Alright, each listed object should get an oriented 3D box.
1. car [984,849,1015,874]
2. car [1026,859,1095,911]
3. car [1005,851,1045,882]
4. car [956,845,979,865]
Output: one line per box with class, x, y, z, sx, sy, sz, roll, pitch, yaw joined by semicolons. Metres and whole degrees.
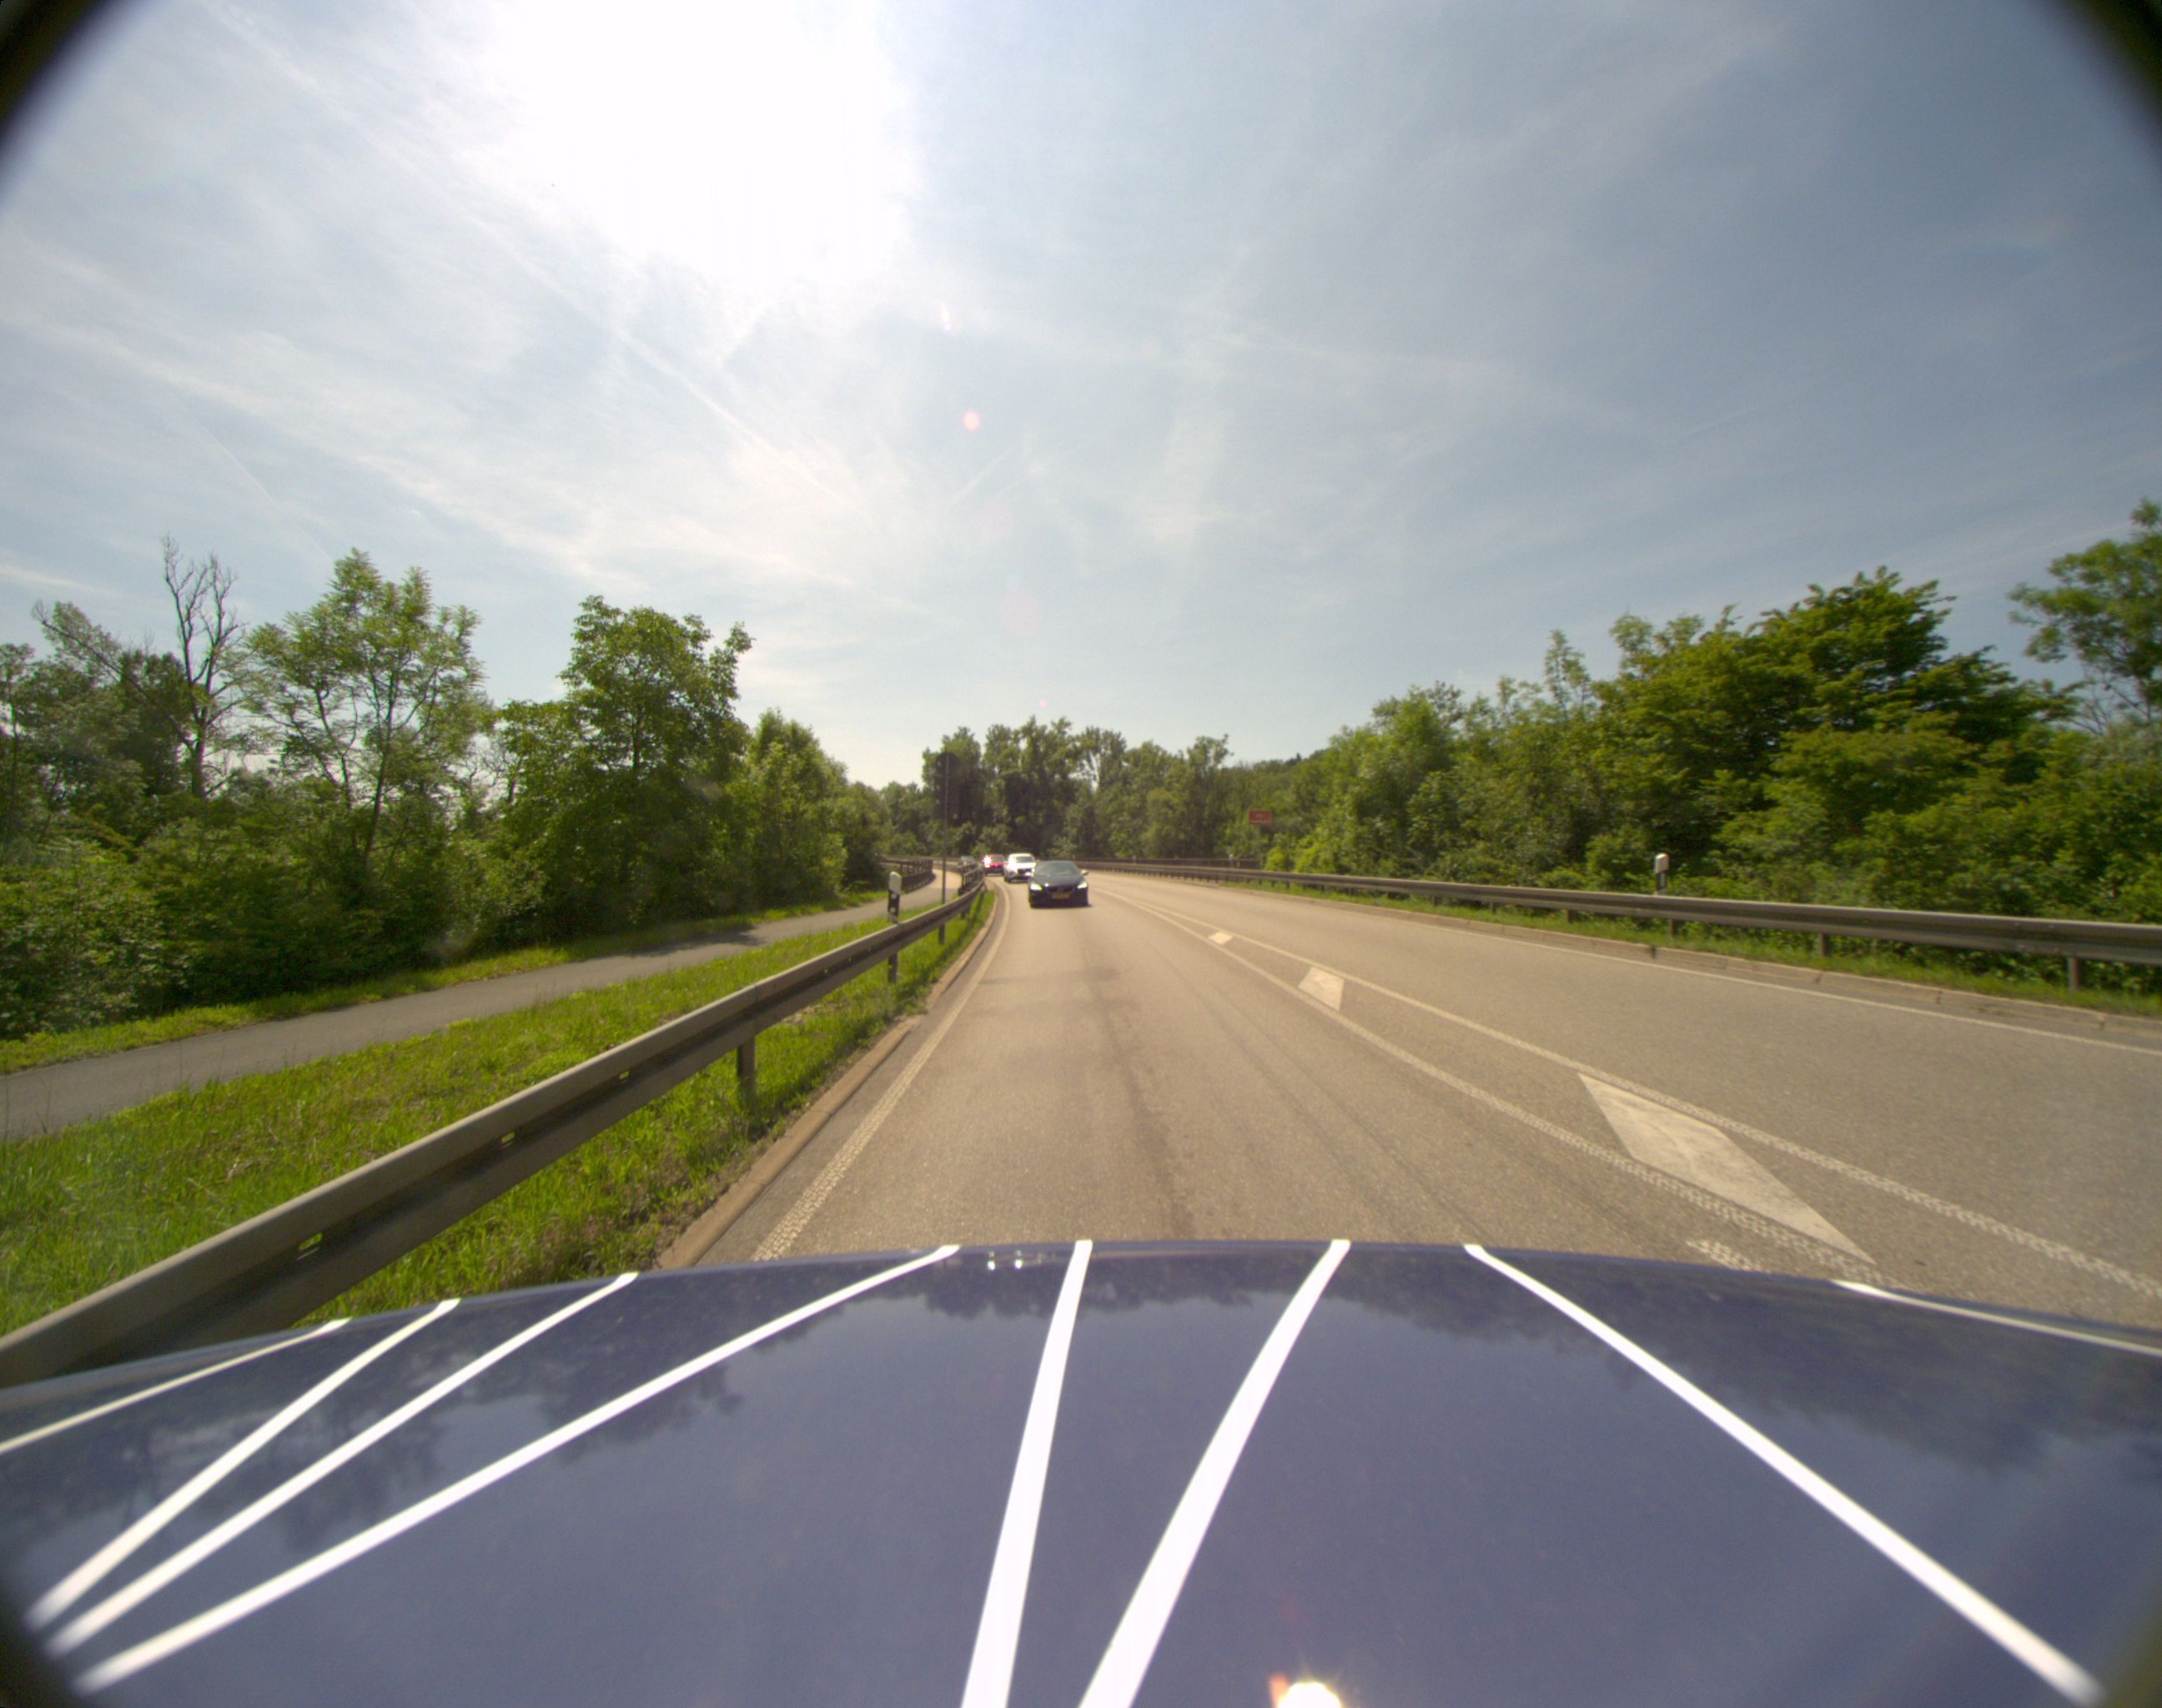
car;-6.345;0.568;58.993;2.000;1.765;3.996;-2;0;-11
car;-0.738;0.919;24.373;1.910;1.413;3.948;-2;0;-6
car;-3.322;0.717;44.322;1.910;1.638;3.947;-2;0;-9
car;-12.498;0.055;83.641;2.001;2.002;3.994;-3;2;-14
